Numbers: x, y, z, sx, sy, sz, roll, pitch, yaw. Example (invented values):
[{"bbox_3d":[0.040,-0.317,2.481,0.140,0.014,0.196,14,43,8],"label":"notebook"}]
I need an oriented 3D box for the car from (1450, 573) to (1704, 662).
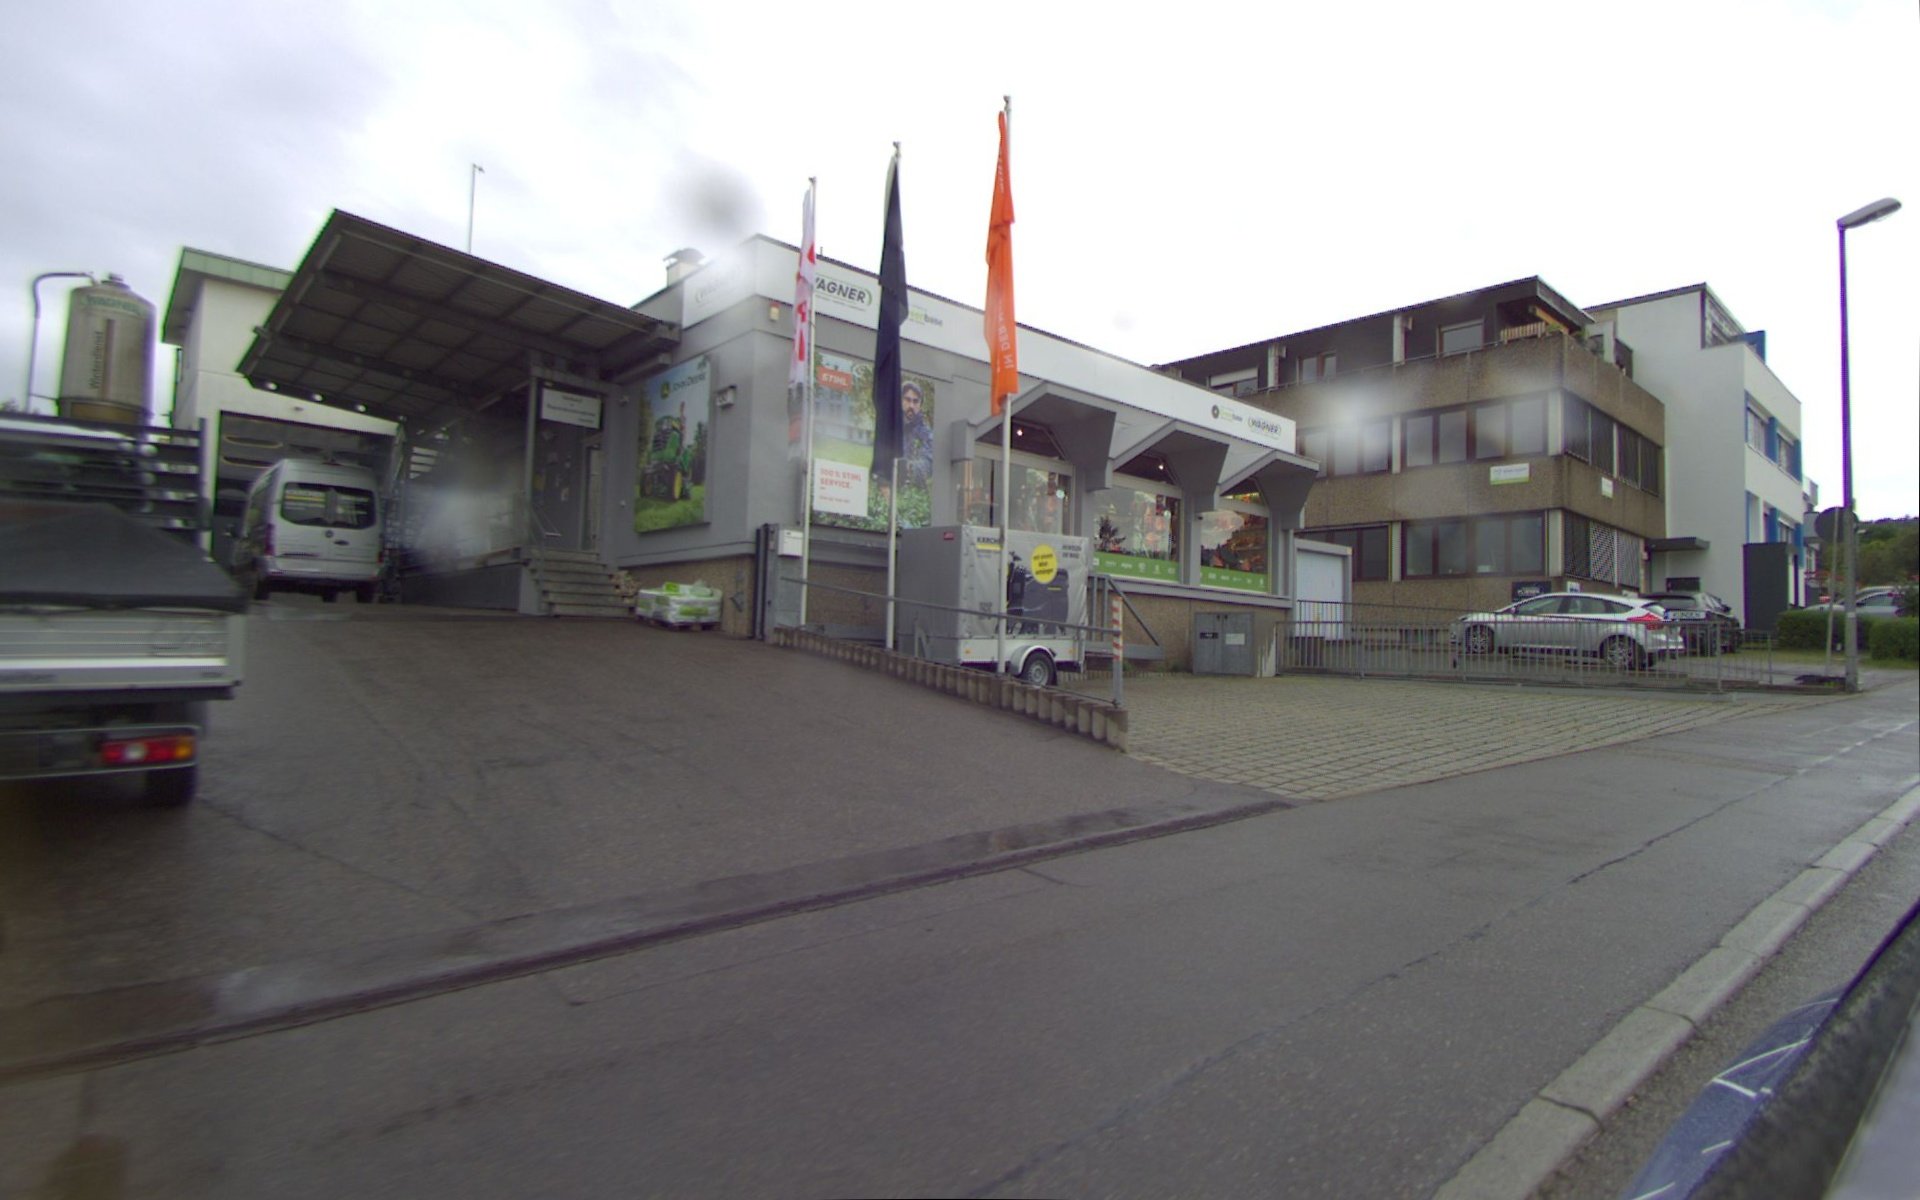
[{"bbox_3d":[12.787,0.274,21.151,1.969,1.593,4.127,-1,3,-42],"label":"car"}]

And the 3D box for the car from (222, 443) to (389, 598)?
[{"bbox_3d":[-13.329,-1.395,20.446,1.965,2.654,5.398,3,-2,-41],"label":"car"}]

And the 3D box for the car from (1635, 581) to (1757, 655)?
[{"bbox_3d":[19.459,0.406,26.687,4.397,1.772,1.751,-1,1,-42],"label":"car"}]

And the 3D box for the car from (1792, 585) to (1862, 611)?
[{"bbox_3d":[59.949,-0.171,70.053,1.830,1.604,4.313,-1,3,12],"label":"car"}]

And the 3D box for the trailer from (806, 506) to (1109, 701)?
[{"bbox_3d":[0.067,0.074,14.802,4.232,2.448,1.890,1,-1,-41],"label":"trailer"}]

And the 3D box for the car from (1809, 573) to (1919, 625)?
[{"bbox_3d":[33.217,-0.036,36.079,2.054,1.795,4.345,0,0,-43],"label":"car"}]

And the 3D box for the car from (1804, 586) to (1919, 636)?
[{"bbox_3d":[31.272,0.349,33.717,2.043,1.557,4.604,0,2,-42],"label":"car"}]

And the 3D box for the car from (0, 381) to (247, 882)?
[{"bbox_3d":[-5.744,-0.200,5.936,2.182,2.036,5.316,-1,8,-39],"label":"car"}]

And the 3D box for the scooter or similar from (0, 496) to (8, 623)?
[{"bbox_3d":[-10.008,-0.404,9.077,2.027,1.240,1.067,2,2,-39],"label":"scooter or similar"}]
